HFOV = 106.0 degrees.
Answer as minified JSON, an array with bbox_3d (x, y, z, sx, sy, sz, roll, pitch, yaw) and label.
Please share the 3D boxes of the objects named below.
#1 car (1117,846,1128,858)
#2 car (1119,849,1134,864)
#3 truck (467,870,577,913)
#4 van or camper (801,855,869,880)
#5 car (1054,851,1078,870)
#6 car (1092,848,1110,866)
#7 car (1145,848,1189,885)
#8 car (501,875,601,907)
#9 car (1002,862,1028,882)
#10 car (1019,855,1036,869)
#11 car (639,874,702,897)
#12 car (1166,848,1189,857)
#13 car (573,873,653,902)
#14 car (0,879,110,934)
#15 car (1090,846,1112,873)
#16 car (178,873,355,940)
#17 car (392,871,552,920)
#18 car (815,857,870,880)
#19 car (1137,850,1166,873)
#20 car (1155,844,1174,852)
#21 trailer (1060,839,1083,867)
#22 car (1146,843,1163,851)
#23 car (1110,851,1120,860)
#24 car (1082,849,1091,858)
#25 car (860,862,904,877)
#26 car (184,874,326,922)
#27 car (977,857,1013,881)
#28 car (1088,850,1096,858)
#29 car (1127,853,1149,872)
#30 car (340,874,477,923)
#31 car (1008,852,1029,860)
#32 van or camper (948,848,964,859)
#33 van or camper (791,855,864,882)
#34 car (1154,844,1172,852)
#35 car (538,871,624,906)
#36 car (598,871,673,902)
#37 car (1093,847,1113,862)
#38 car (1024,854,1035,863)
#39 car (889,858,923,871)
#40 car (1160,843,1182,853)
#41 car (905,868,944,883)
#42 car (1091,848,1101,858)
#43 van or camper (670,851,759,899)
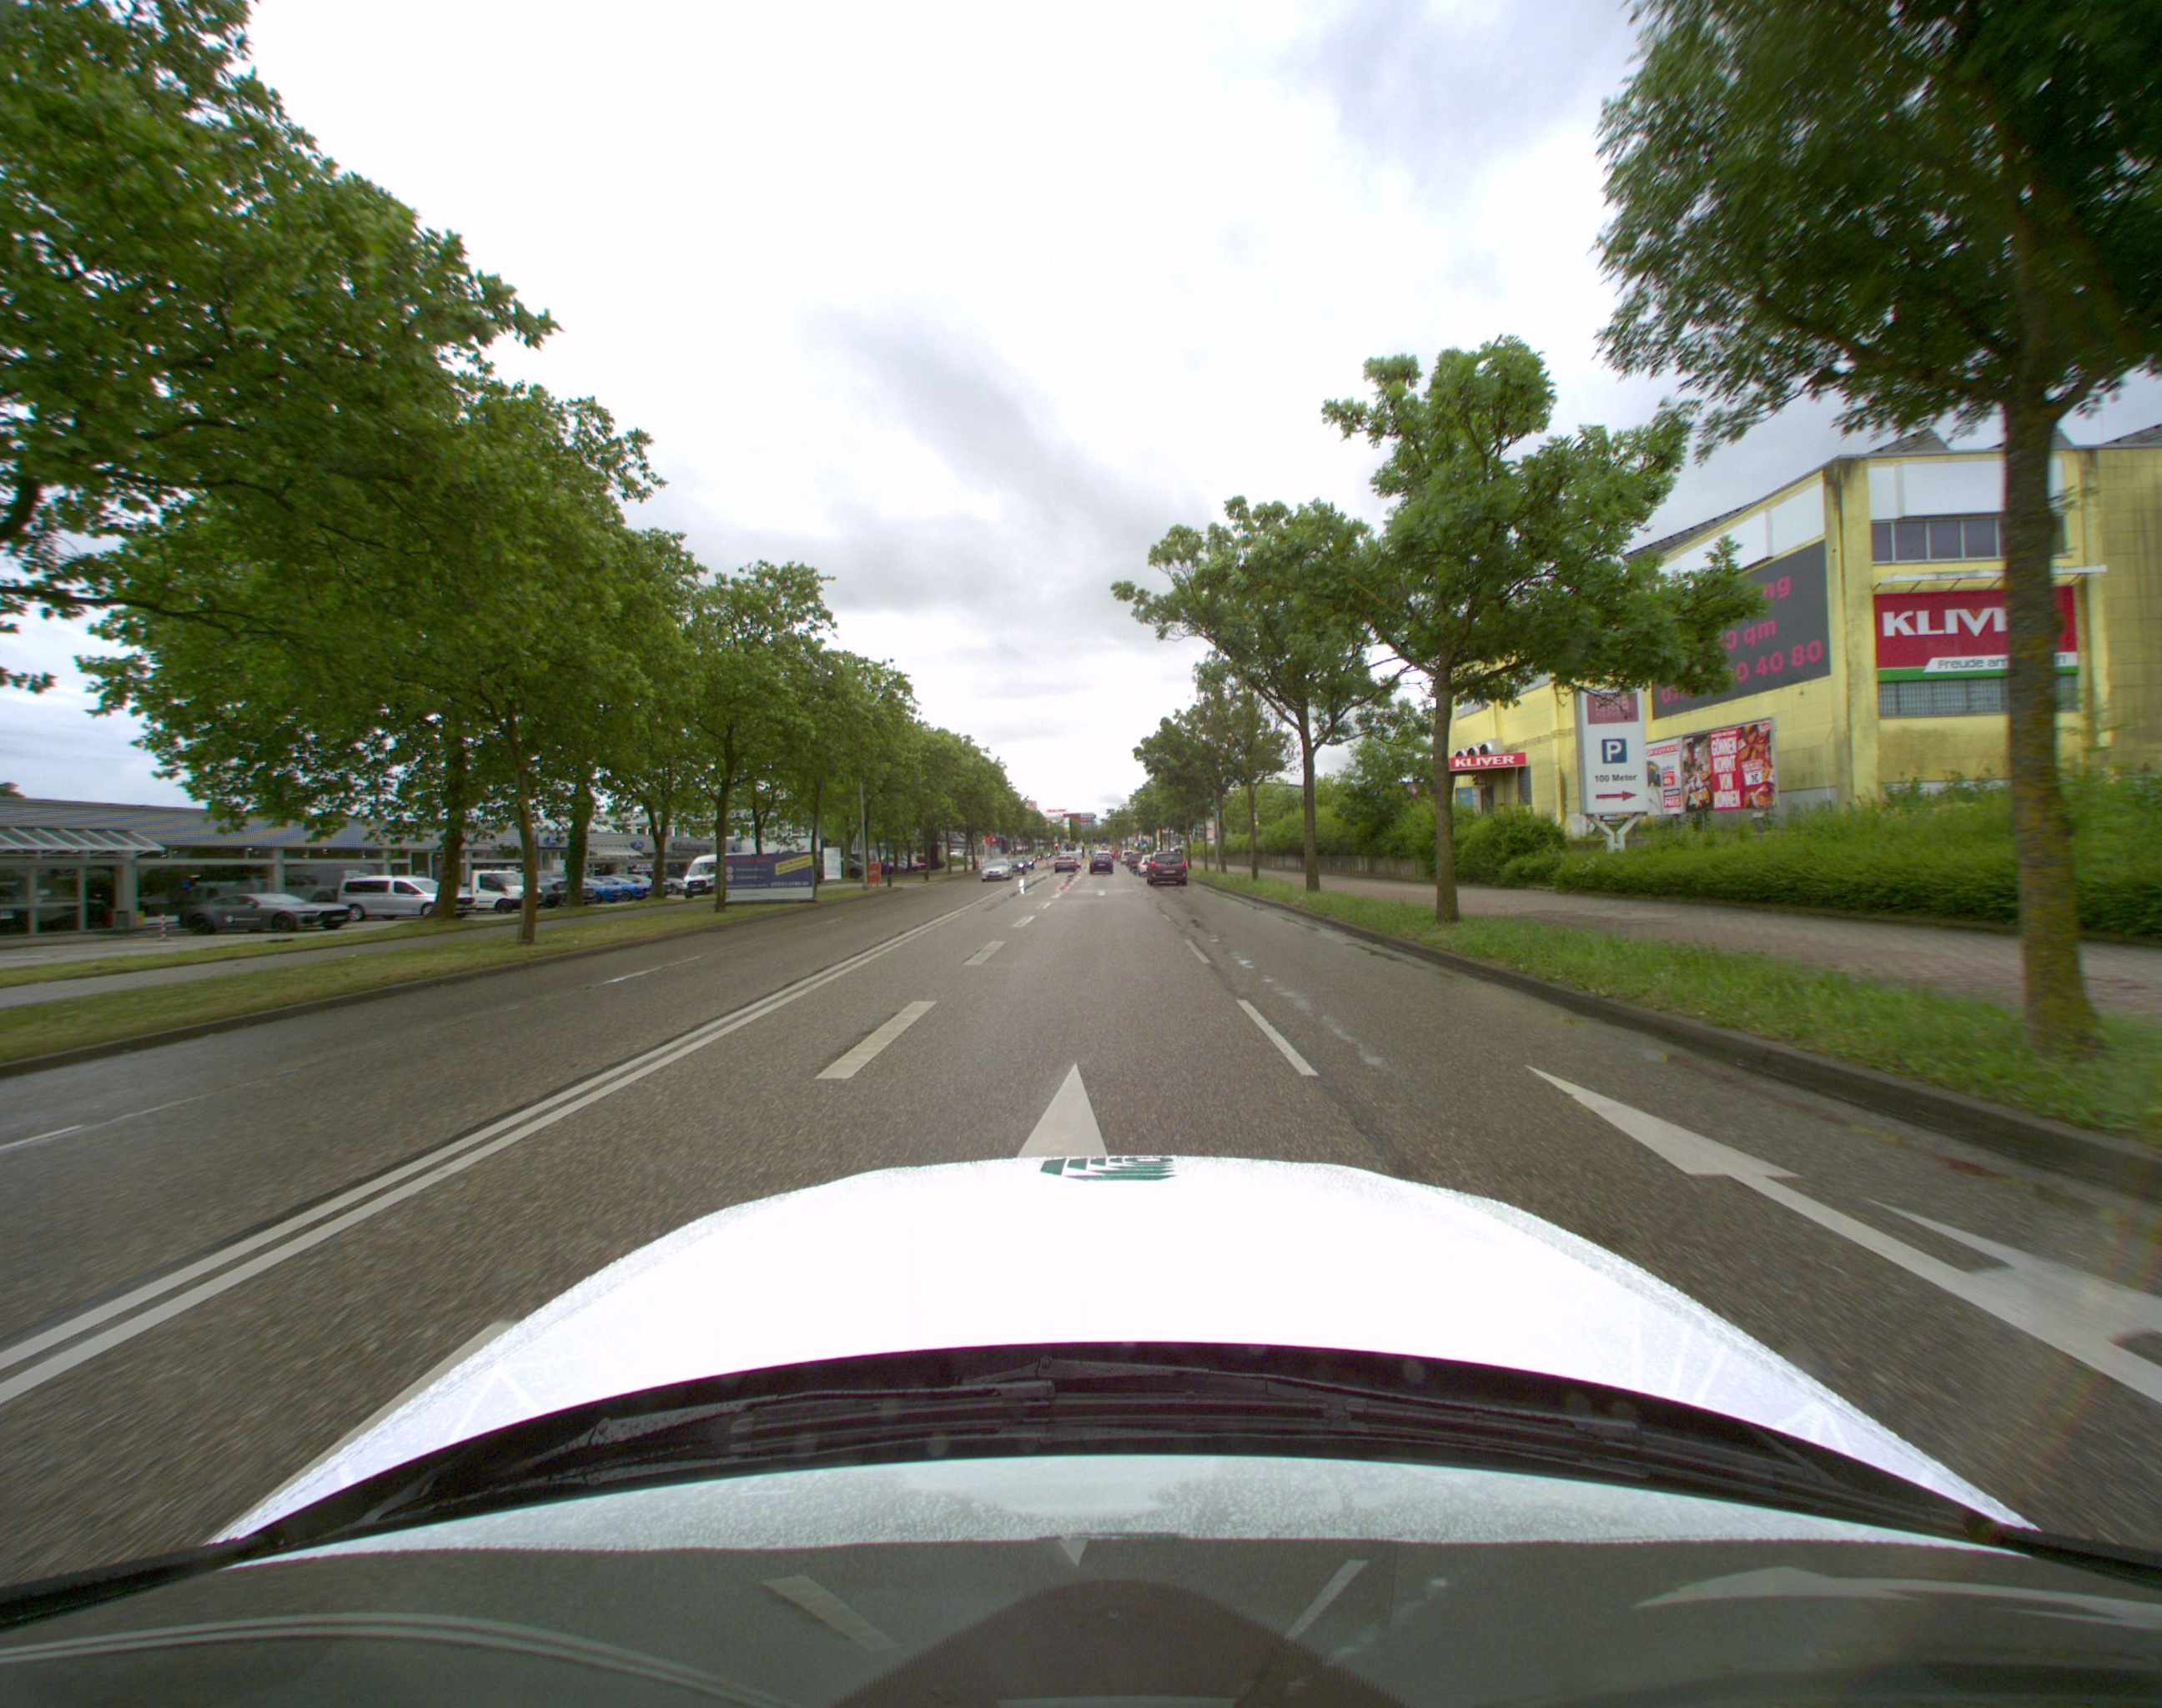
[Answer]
[{"bbox_3d":[6.097,-0.258,120.001,1.678,1.684,3.404,-1,-1,2],"label":"car"},{"bbox_3d":[5.820,0.282,104.070,1.775,1.866,4.002,-3,0,2],"label":"car"},{"bbox_3d":[-27.964,1.850,40.850,3.985,1.838,1.994,-2,0,-9],"label":"truck"},{"bbox_3d":[-20.917,1.166,69.261,5.379,1.770,2.089,-3,-3,-22],"label":"van or camper"},{"bbox_3d":[-1.295,0.600,74.180,1.900,1.578,4.882,-3,0,1],"label":"car"},{"bbox_3d":[2.336,0.361,94.537,1.986,2.014,4.000,-1,-1,1],"label":"car"},{"bbox_3d":[4.135,0.579,39.885,1.720,1.624,4.472,-2,0,1],"label":"car"},{"bbox_3d":[-28.361,1.953,43.638,3.969,1.461,2.036,-2,0,4],"label":"car"},{"bbox_3d":[-5.587,1.487,69.363,1.756,1.531,3.859,-4,0,2],"label":"car"},{"bbox_3d":[-5.889,0.871,89.186,1.664,1.462,4.173,-3,0,-5],"label":"car"},{"bbox_3d":[-29.498,2.247,58.538,3.867,1.467,1.605,-2,0,13],"label":"car"},{"bbox_3d":[17.691,-0.268,149.336,1.907,1.576,4.315,-2,0,42],"label":"car"},{"bbox_3d":[-27.984,1.997,48.734,3.957,1.520,1.873,-2,0,15],"label":"car"},{"bbox_3d":[-39.242,1.907,29.047,5.361,1.838,2.370,-1,-1,-27],"label":"car"},{"bbox_3d":[1.619,0.444,64.411,1.588,2.013,4.347,-2,0,2],"label":"car"},{"bbox_3d":[-27.591,1.744,27.685,3.976,2.013,1.881,-2,0,-2],"label":"car"},{"bbox_3d":[-27.845,1.859,37.431,5.362,1.903,2.414,-2,0,-3],"label":"car"},{"bbox_3d":[-21.115,1.296,71.967,4.471,1.816,1.985,-2,0,-22],"label":"car"},{"bbox_3d":[4.891,0.510,57.051,1.794,1.544,4.622,0,0,2],"label":"car"},{"bbox_3d":[17.121,-1.179,167.187,3.617,1.536,1.625,-3,0,-39],"label":"car"},{"bbox_3d":[-1.013,-0.114,89.326,2.365,2.897,5.544,-3,0,0],"label":"trailer"},{"bbox_3d":[17.759,-1.709,196.687,4.094,1.904,1.801,-3,1,2],"label":"car"},{"bbox_3d":[5.959,0.250,143.527,1.689,1.443,3.991,-2,0,2],"label":"car"},{"bbox_3d":[1.295,-0.076,190.039,1.986,2.014,4.001,-1,-1,2],"label":"car"},{"bbox_3d":[-22.240,1.701,90.865,4.572,1.596,1.986,-1,0,-22],"label":"car"},{"bbox_3d":[-34.858,1.819,34.464,3.975,1.766,1.864,-2,0,-1],"label":"car"},{"bbox_3d":[-5.748,0.949,54.929,1.989,1.429,4.681,-3,0,-2],"label":"car"},{"bbox_3d":[2.785,0.032,203.503,1.986,2.014,4.001,-1,-1,2],"label":"car"},{"bbox_3d":[4.945,0.734,71.208,1.794,1.587,4.452,0,0,2],"label":"car"},{"bbox_3d":[-27.827,1.810,33.795,3.976,1.766,1.881,-2,0,-2],"label":"car"},{"bbox_3d":[-13.019,0.375,168.494,3.948,1.552,1.912,-3,1,35],"label":"car"},{"bbox_3d":[-22.525,-0.043,146.962,1.987,1.967,4.788,-1,-1,1],"label":"van or camper"},{"bbox_3d":[-20.223,1.152,64.910,5.308,1.821,2.248,-3,0,-25],"label":"van or camper"},{"bbox_3d":[17.610,-1.352,174.885,3.617,1.536,1.776,-4,1,-39],"label":"car"},{"bbox_3d":[-28.299,1.961,46.127,3.956,1.766,1.873,-2,0,16],"label":"car"},{"bbox_3d":[-28.045,2.041,51.308,3.956,1.766,1.873,-2,0,17],"label":"car"},{"bbox_3d":[2.136,0.062,79.237,1.678,1.377,3.996,-3,0,-2],"label":"car"},{"bbox_3d":[-9.252,0.822,146.138,1.704,1.465,4.084,-3,0,0],"label":"car"},{"bbox_3d":[-22.574,1.391,104.895,3.971,1.489,1.876,-3,0,-4],"label":"car"},{"bbox_3d":[17.896,-1.181,161.432,4.048,1.662,1.959,-5,2,-39],"label":"car"},{"bbox_3d":[-19.085,2.611,99.136,4.236,1.596,1.985,-4,1,-23],"label":"car"},{"bbox_3d":[3.200,-0.241,174.005,1.986,2.014,4.001,-1,-1,2],"label":"car"},{"bbox_3d":[-20.691,1.108,46.386,1.986,2.470,6.403,-1,0,2],"label":"van or camper"}]
